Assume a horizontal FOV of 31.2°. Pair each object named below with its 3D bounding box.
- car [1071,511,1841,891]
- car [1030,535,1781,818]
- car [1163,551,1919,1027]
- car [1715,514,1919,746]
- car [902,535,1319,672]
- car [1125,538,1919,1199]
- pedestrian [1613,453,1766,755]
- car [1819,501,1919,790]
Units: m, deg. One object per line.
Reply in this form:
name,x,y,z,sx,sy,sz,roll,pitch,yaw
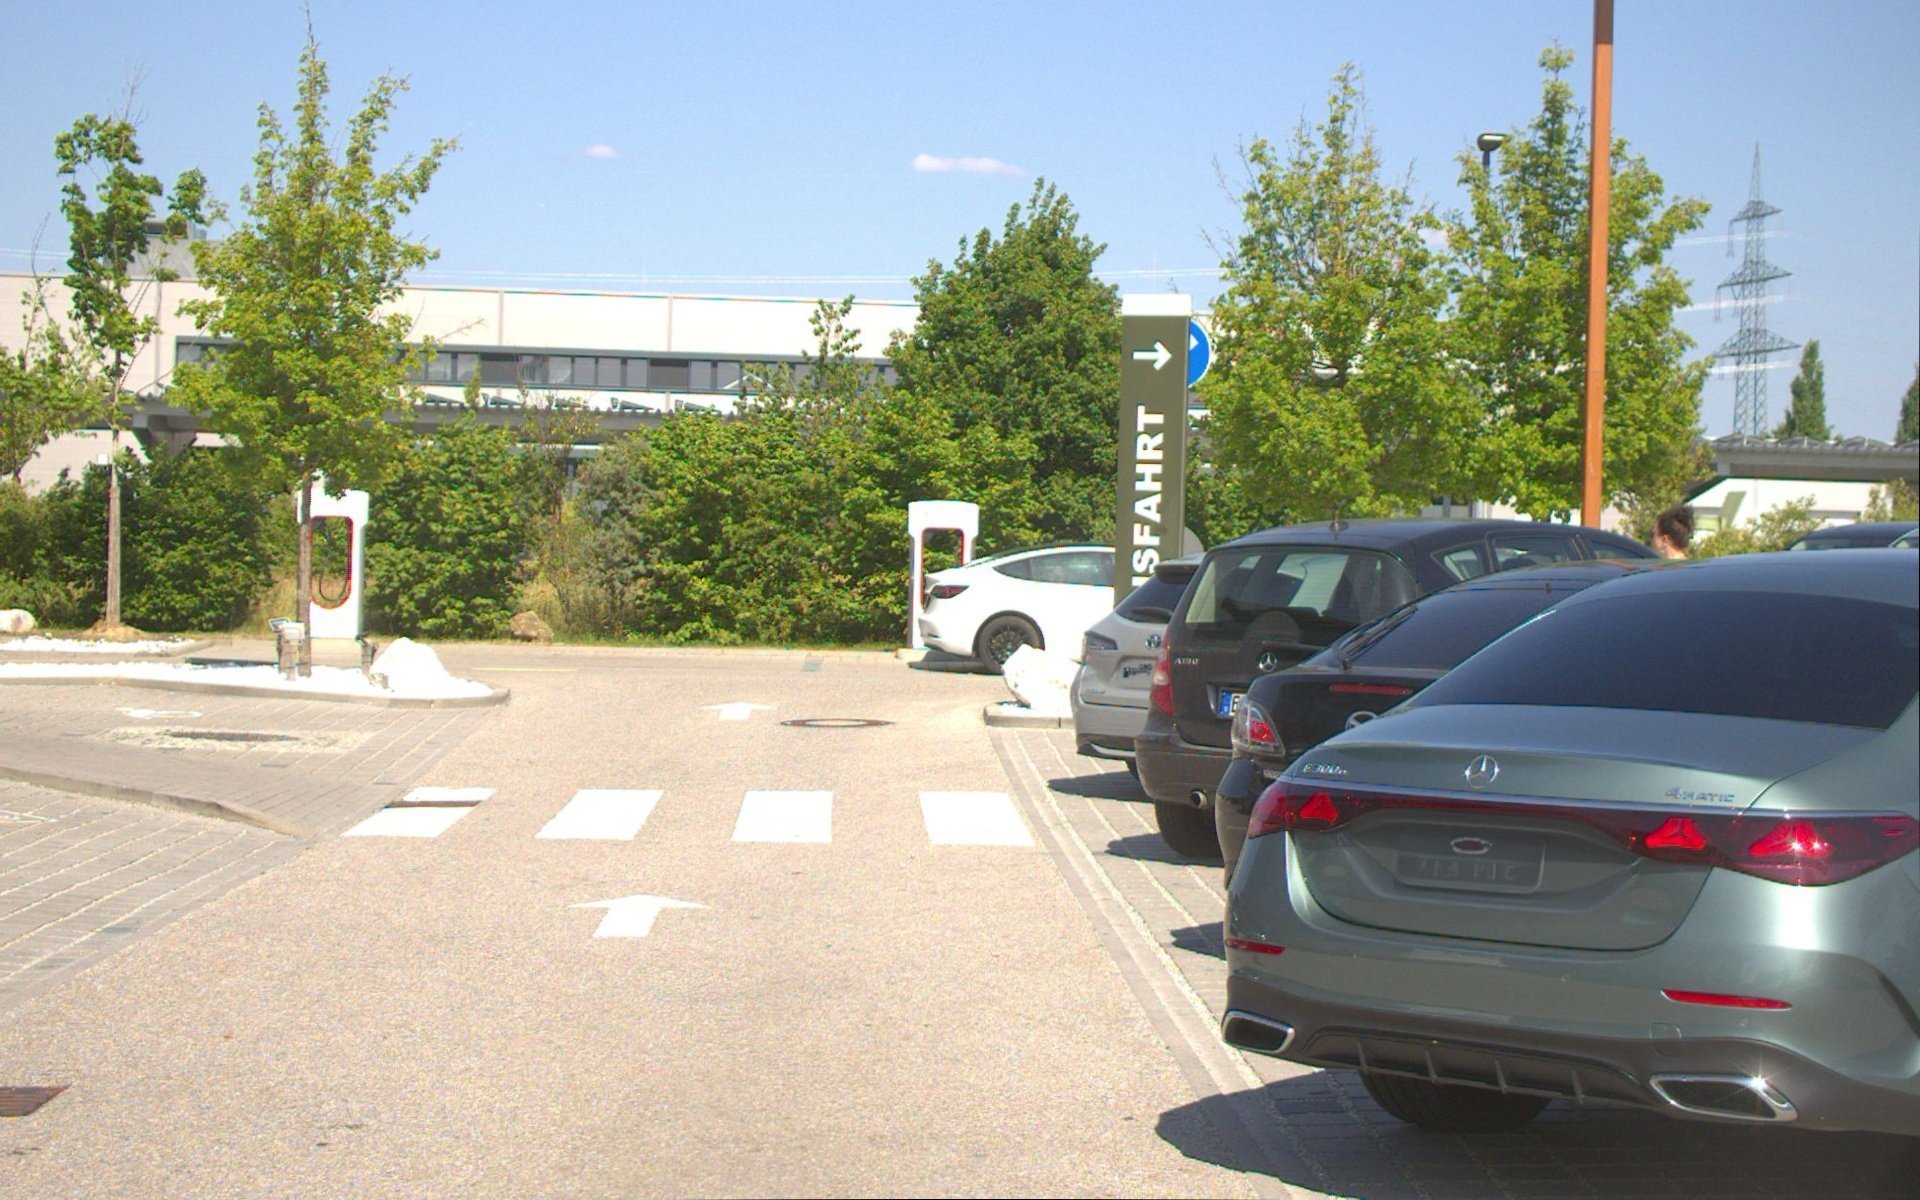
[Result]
car,2.503,0.408,16.643,1.810,1.588,3.990,2,1,41
car,2.708,0.354,20.122,4.650,1.442,1.835,-1,2,-44
car,2.816,0.577,12.694,4.065,1.444,1.828,0,1,-44
car,7.356,0.161,24.900,1.894,1.531,4.181,2,2,41
car,1.626,0.018,37.740,4.434,1.373,1.822,1,1,1
car,2.648,0.633,8.920,1.886,1.506,4.531,2,1,44
pedestrian,4.199,0.015,19.795,0.562,1.707,0.610,0,1,-39
car,6.983,0.258,20.816,1.746,1.634,4.057,2,2,42
